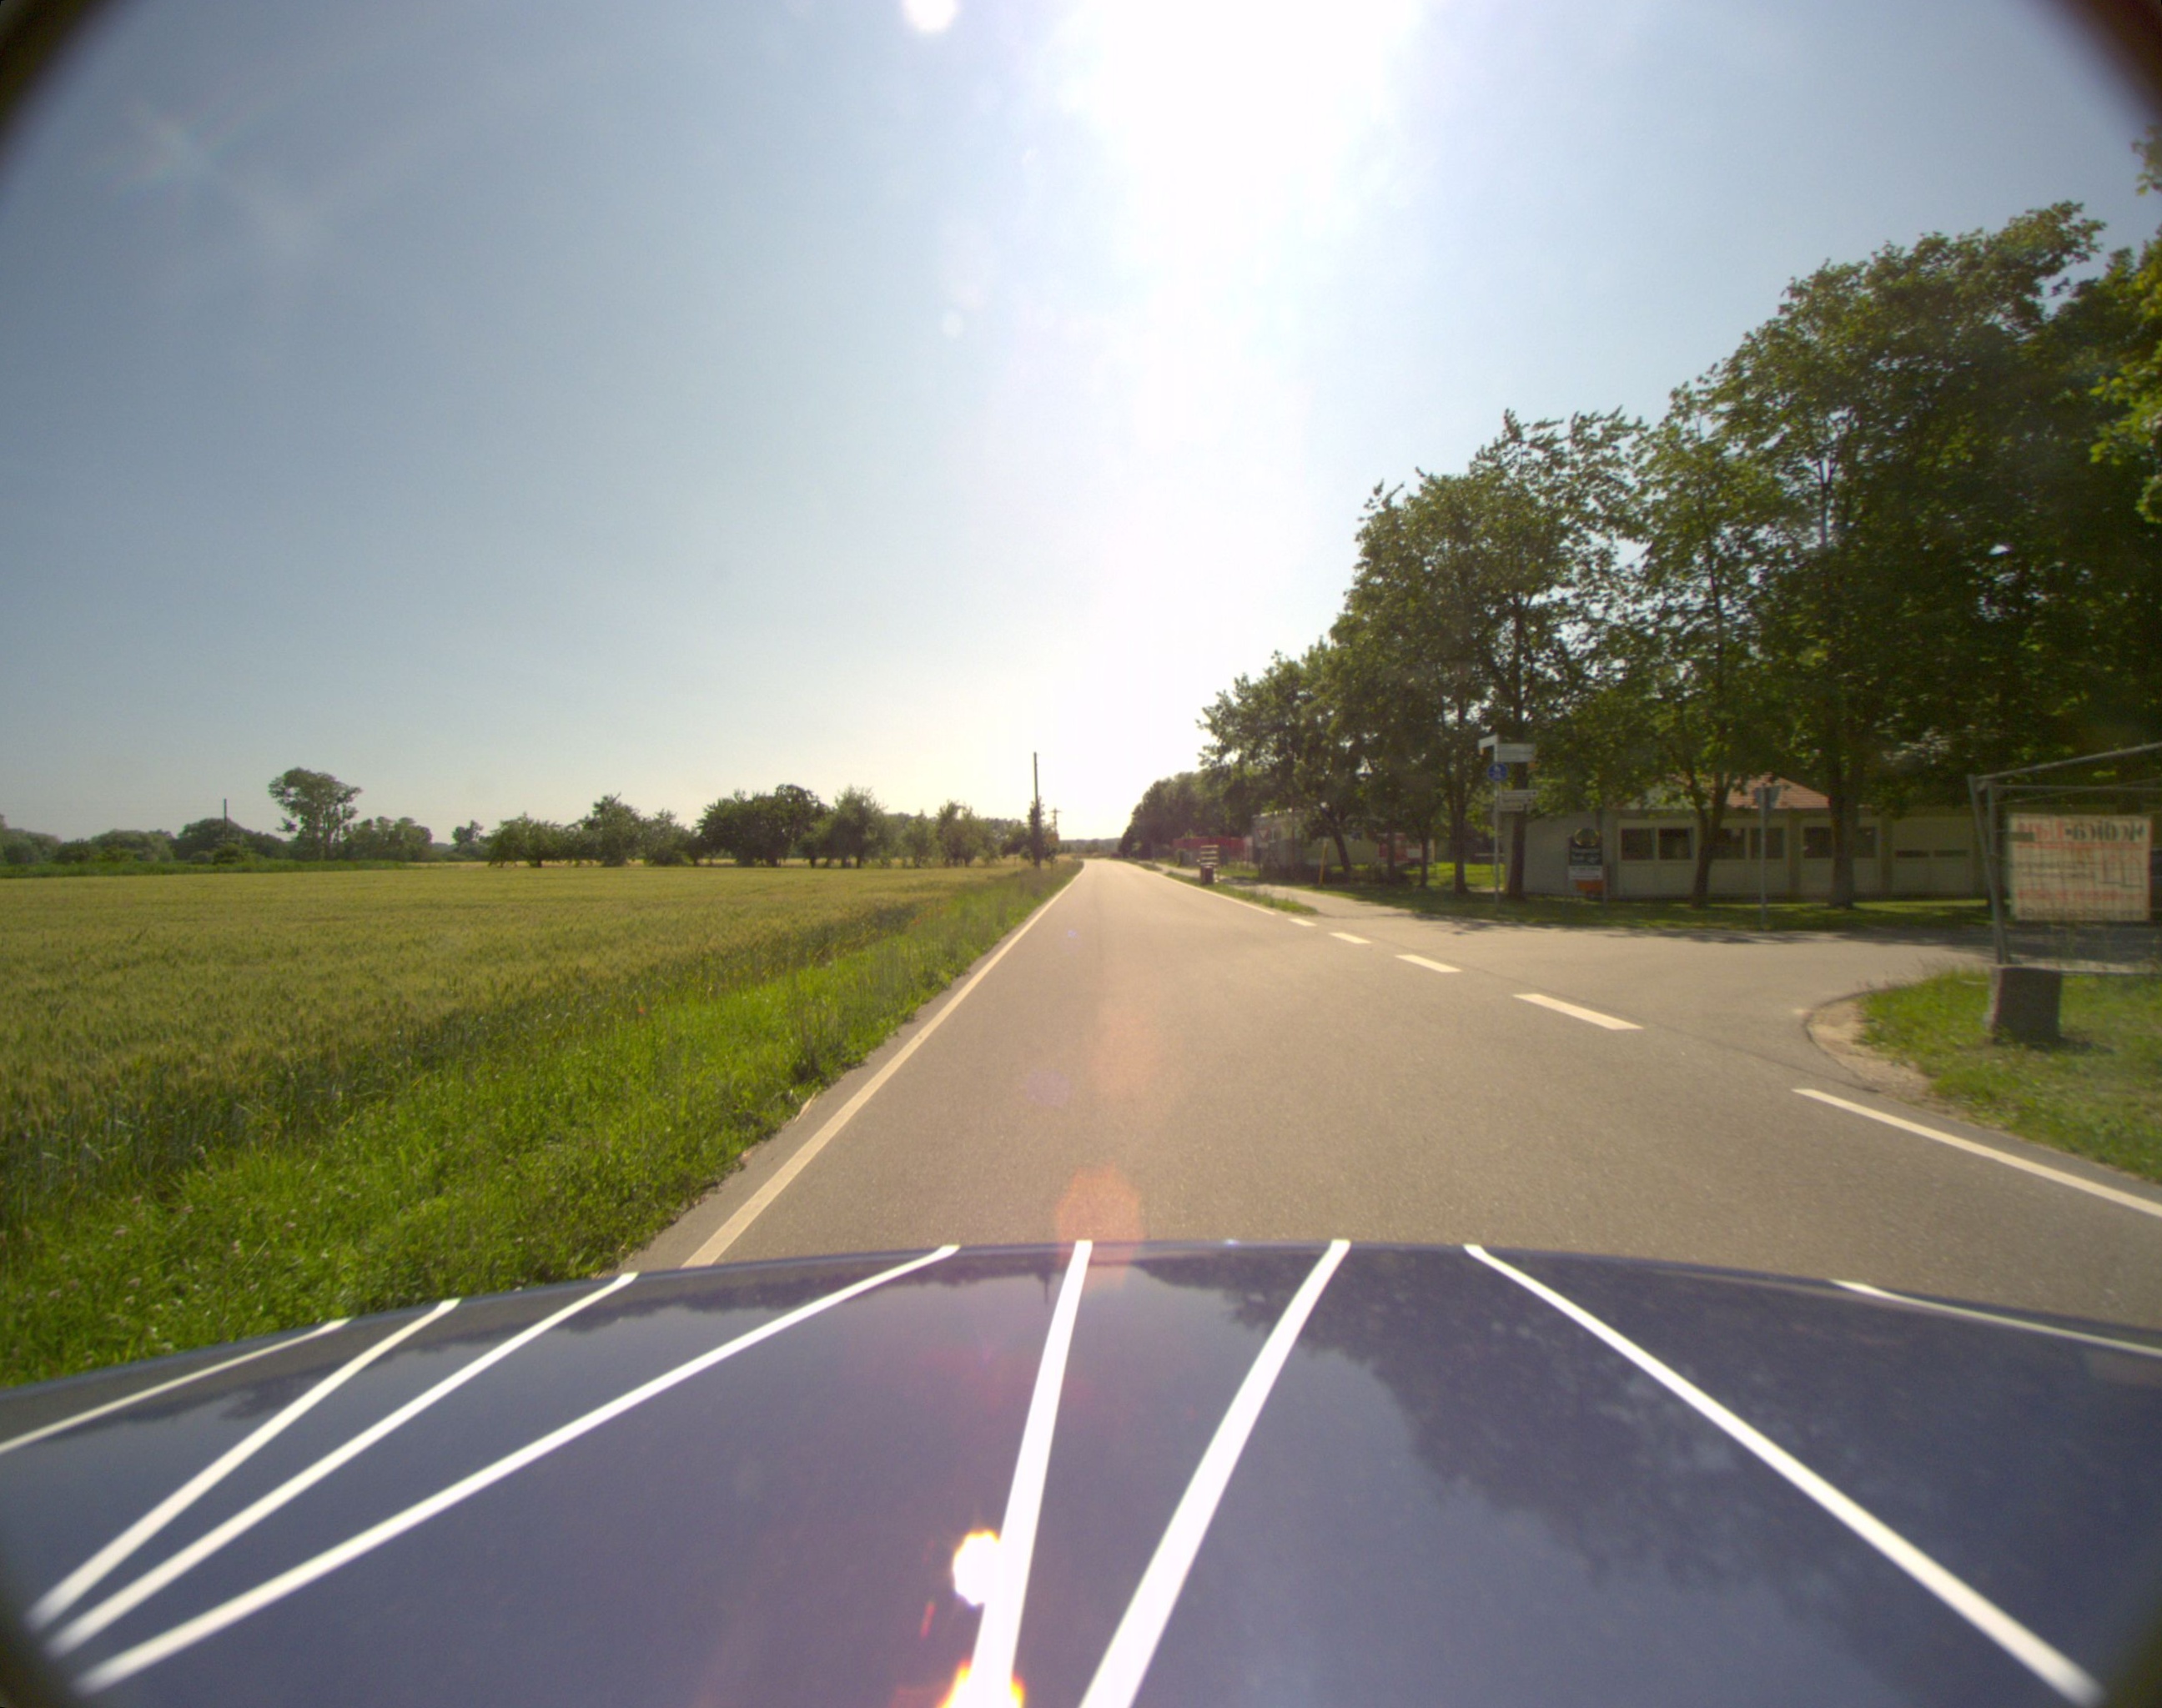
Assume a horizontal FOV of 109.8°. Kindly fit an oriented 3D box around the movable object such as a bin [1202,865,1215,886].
[{"bbox_3d":[5.643,0.950,33.588,0.563,0.872,0.614,0,1,9],"label":"movable object such as a bin"}]

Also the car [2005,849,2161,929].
[{"bbox_3d":[20.230,0.602,14.319,3.811,1.391,1.758,0,0,-6],"label":"car"}]

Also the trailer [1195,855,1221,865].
[{"bbox_3d":[11.685,0.526,70.054,1.635,0.862,3.356,0,0,-5],"label":"trailer"}]

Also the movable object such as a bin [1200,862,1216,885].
[{"bbox_3d":[5.766,0.865,34.396,0.700,1.018,0.748,0,1,9],"label":"movable object such as a bin"}]

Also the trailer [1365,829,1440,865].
[{"bbox_3d":[21.113,-0.456,49.916,4.238,2.264,1.826,0,1,-12],"label":"trailer"}]
